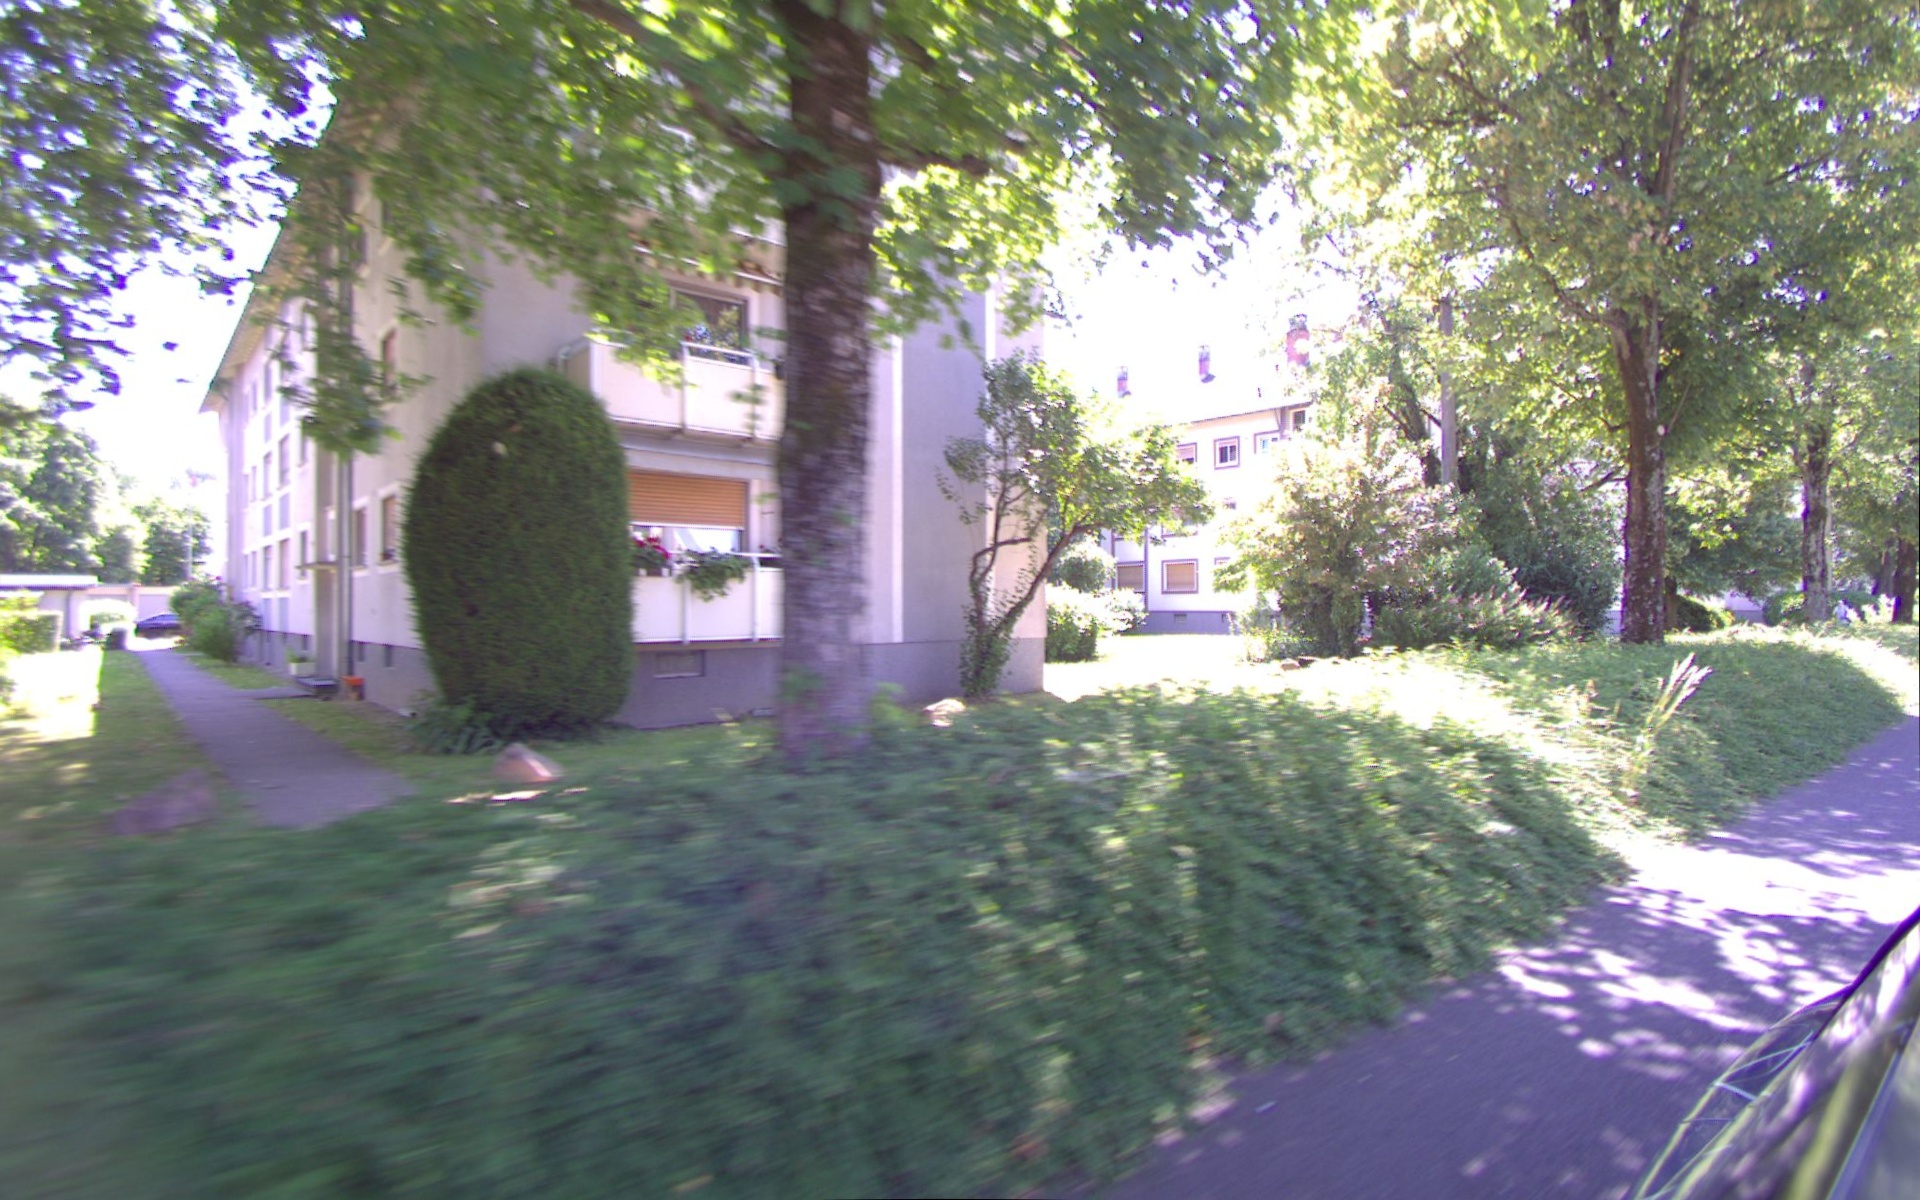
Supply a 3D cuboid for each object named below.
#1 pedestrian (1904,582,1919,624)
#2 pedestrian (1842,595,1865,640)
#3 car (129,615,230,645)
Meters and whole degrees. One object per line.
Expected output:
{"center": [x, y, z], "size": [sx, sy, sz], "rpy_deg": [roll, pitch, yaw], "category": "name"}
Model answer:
{"center": [45.022, 0.139, 47.694], "size": [0.610, 1.950, 0.676], "rpy_deg": [0, -1, -41], "category": "pedestrian"}
{"center": [39.846, 0.775, 45.130], "size": [0.610, 1.950, 0.676], "rpy_deg": [0, -1, -41], "category": "pedestrian"}
{"center": [-38.990, 1.465, 50.590], "size": [3.928, 1.393, 1.998], "rpy_deg": [0, 0, -39], "category": "car"}
